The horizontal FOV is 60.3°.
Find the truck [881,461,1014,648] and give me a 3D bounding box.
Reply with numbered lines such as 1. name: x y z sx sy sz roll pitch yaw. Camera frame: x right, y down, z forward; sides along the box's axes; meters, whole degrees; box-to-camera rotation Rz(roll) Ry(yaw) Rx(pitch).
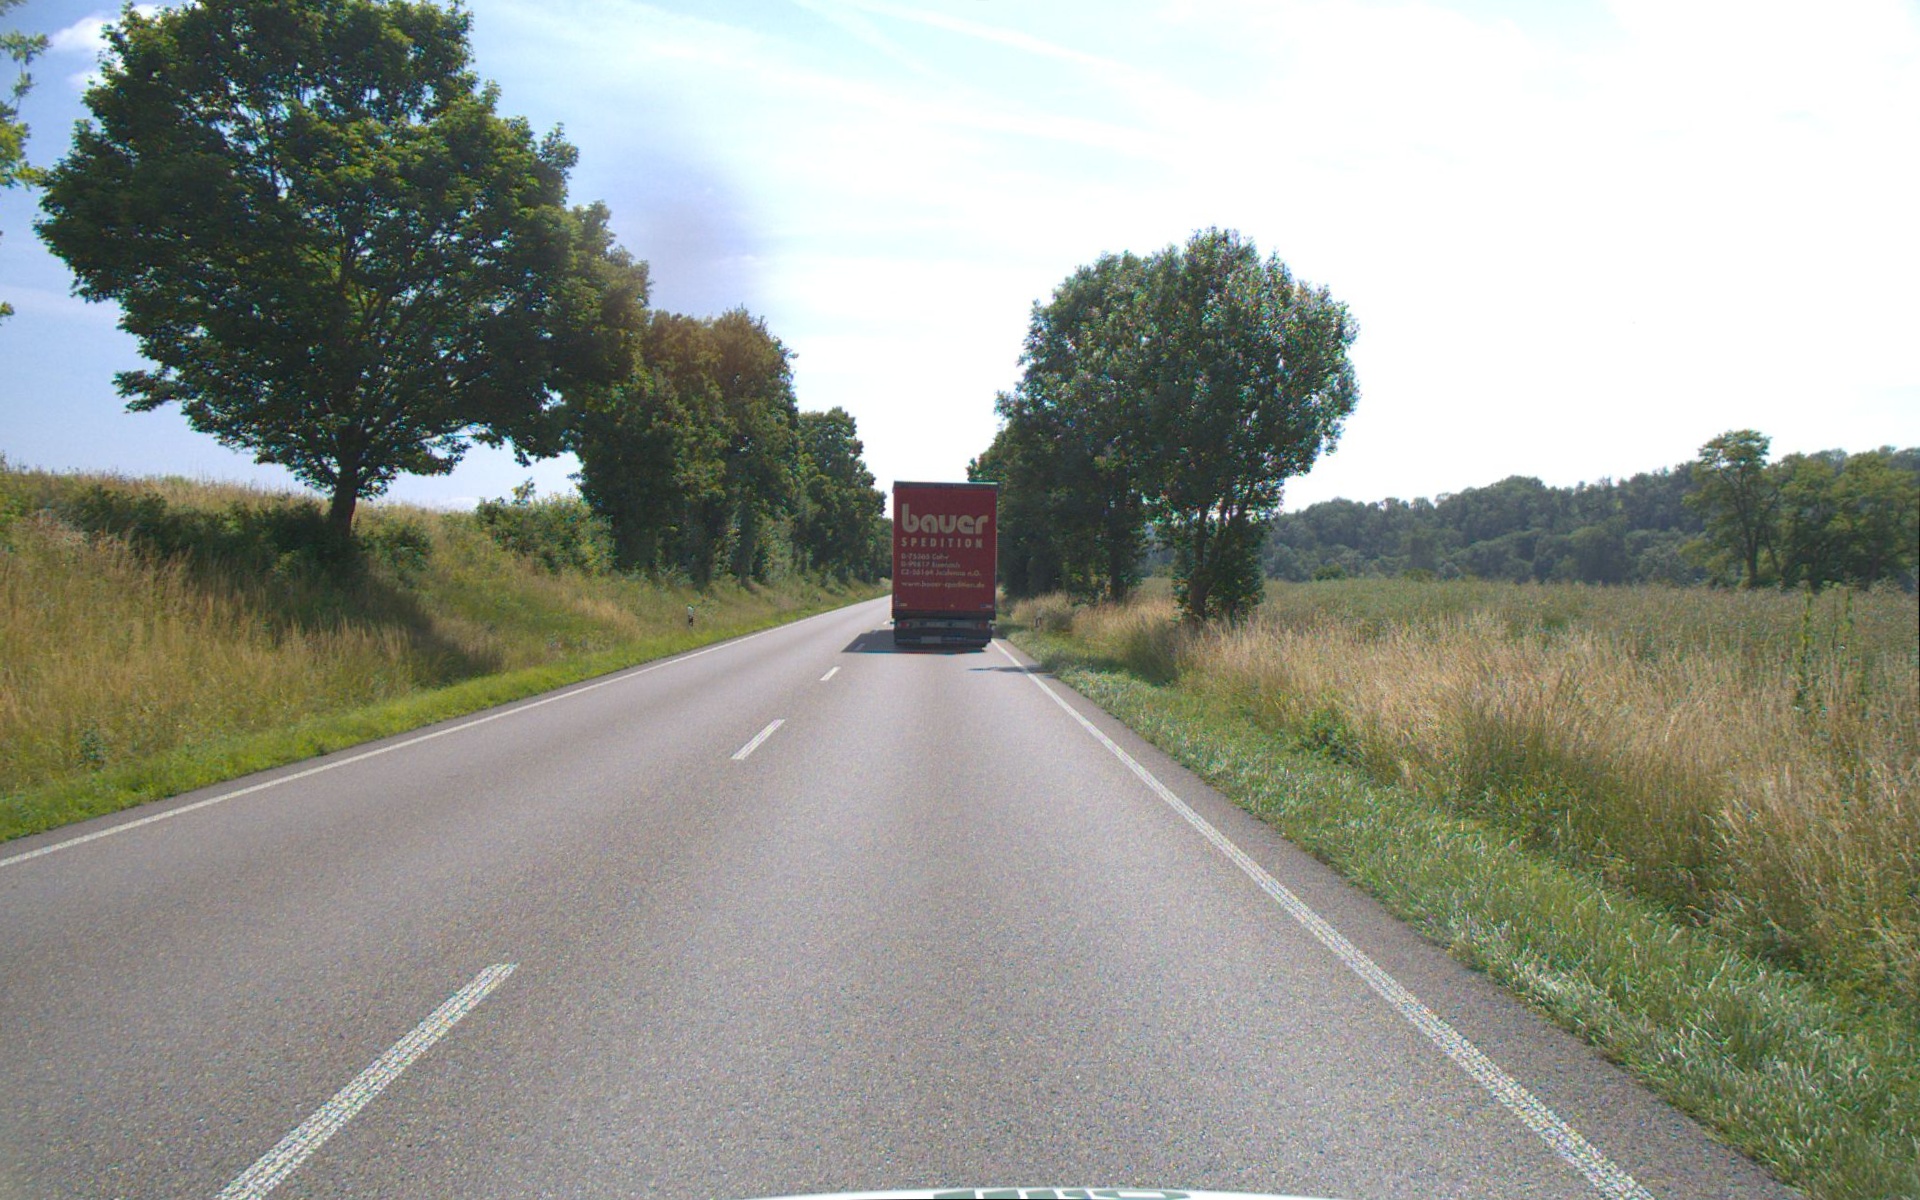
1. truck: -0.230 -1.111 43.287 3.030 4.337 8.315 2 0 1
